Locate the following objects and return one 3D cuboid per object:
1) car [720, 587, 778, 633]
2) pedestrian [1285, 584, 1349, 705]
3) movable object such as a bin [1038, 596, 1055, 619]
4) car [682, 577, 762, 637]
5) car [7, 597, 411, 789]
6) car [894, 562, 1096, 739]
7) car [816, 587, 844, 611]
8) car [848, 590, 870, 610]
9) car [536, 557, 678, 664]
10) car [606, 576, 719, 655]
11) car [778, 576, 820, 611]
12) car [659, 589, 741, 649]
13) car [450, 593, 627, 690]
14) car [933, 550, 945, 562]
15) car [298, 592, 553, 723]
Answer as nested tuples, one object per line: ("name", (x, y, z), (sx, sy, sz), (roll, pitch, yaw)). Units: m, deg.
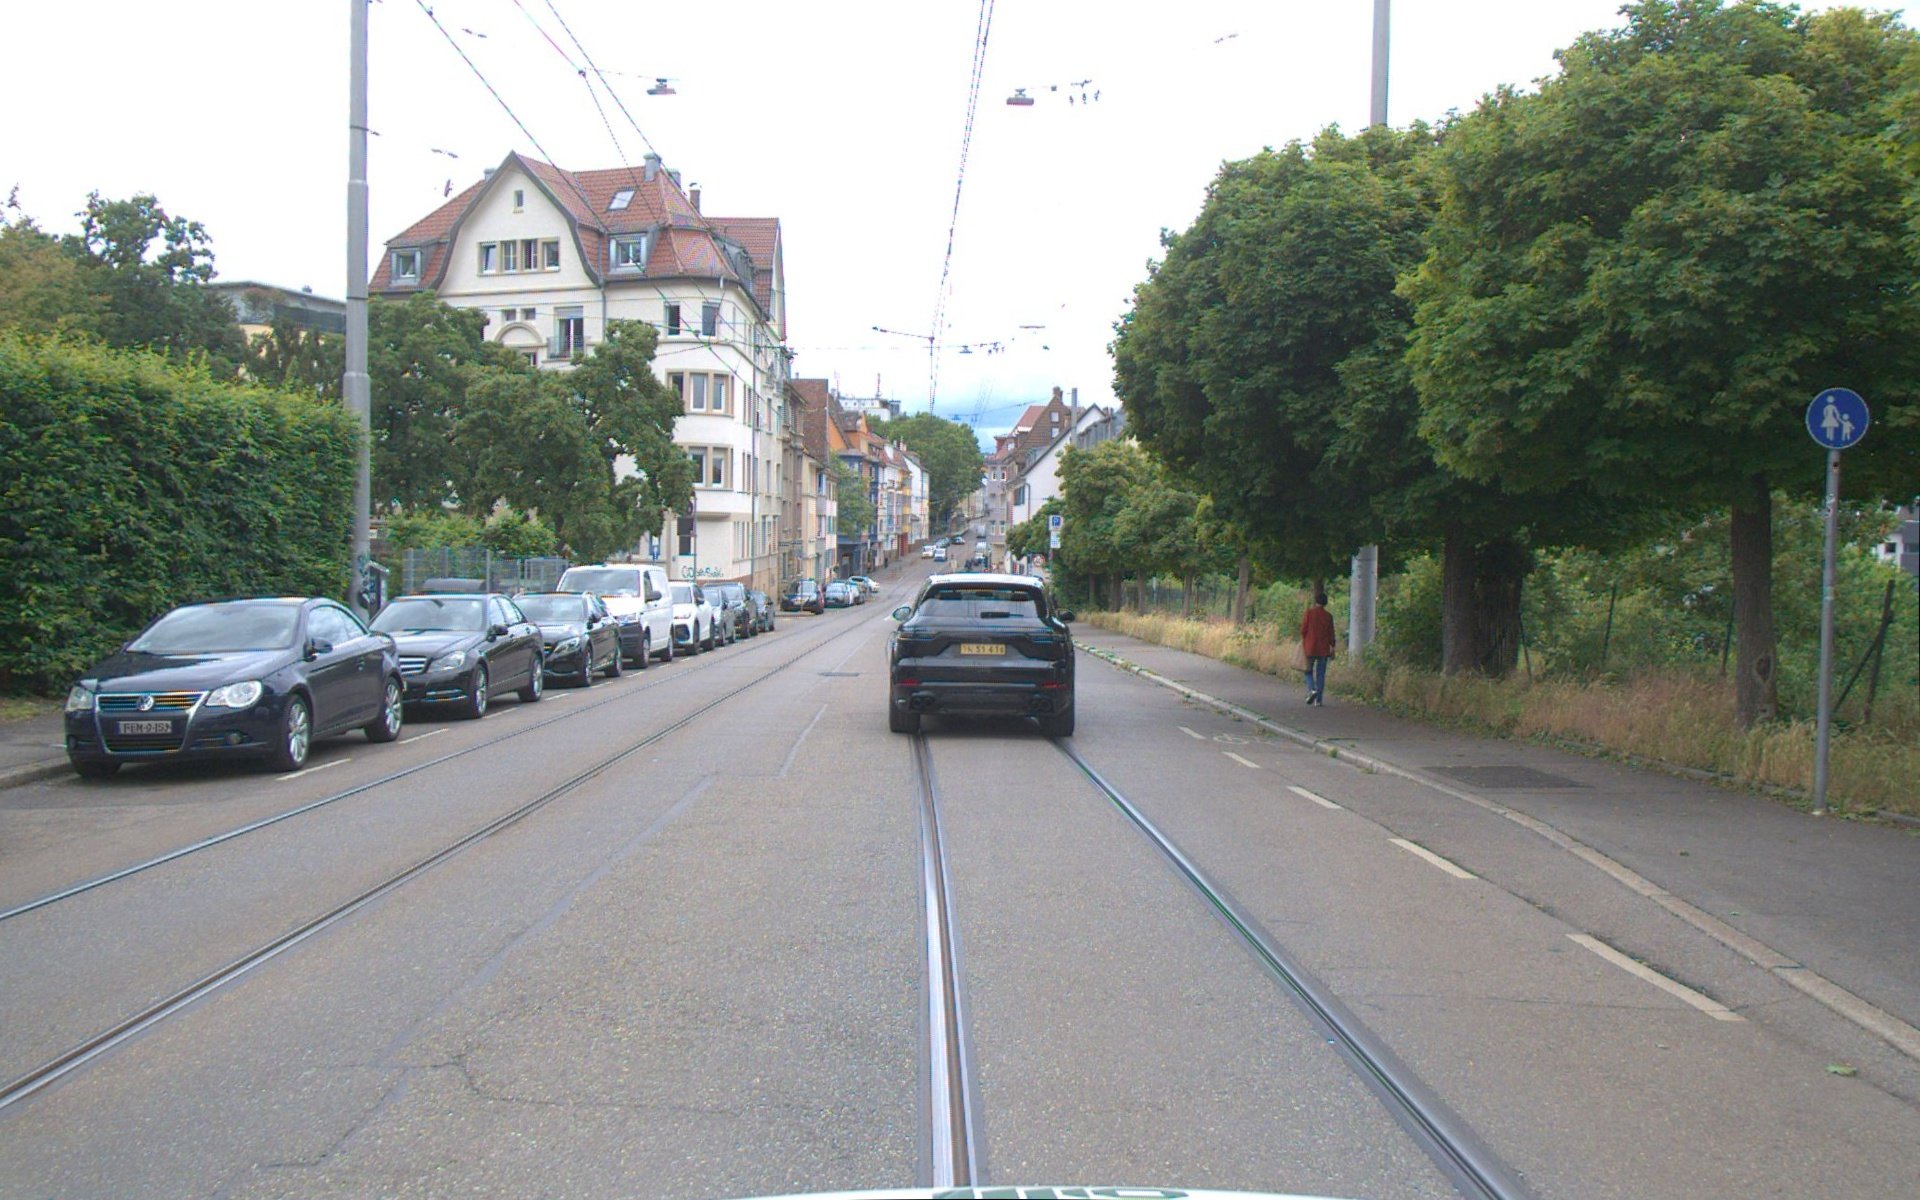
("car", (-7.179, 0.349, 56.509), (1.588, 1.503, 4.154), (0, -1, -2))
("pedestrian", (4.972, 0.605, 23.060), (0.700, 1.649, 0.718), (1, 0, -1))
("movable object such as a bin", (4.686, 0.418, 89.676), (0.776, 1.239, 0.788), (1, 0, -5))
("car", (-7.120, 0.231, 49.929), (1.929, 1.716, 4.442), (0, -1, -2))
("car", (-6.309, 0.717, 14.462), (1.754, 1.429, 4.159), (0, -1, -2))
("car", (0.301, 0.502, 18.218), (1.953, 1.705, 3.999), (1, 0, -1))
("car", (-8.292, -0.035, 105.728), (1.588, 1.489, 4.031), (0, -1, -2))
("car", (-7.634, -0.004, 125.262), (1.588, 1.499, 4.553), (0, -1, -2))
("car", (-6.809, 0.217, 32.388), (1.929, 1.946, 4.732), (0, -1, -2))
("car", (-6.790, 0.365, 38.208), (1.929, 1.716, 4.631), (0, -1, -2))
("car", (-7.876, -0.287, 81.265), (1.830, 1.675, 4.400), (0, -1, -2))
("car", (-6.828, 0.502, 43.754), (1.703, 1.535, 3.867), (0, -1, -2))
("car", (-6.589, 0.625, 26.338), (1.803, 1.411, 4.516), (0, -1, -2))
("car", (-3.170, -6.698, 251.662), (1.715, 1.790, 4.253), (1, 0, 0))
("car", (-6.314, 0.640, 20.089), (1.803, 1.411, 4.438), (0, -1, -2))
